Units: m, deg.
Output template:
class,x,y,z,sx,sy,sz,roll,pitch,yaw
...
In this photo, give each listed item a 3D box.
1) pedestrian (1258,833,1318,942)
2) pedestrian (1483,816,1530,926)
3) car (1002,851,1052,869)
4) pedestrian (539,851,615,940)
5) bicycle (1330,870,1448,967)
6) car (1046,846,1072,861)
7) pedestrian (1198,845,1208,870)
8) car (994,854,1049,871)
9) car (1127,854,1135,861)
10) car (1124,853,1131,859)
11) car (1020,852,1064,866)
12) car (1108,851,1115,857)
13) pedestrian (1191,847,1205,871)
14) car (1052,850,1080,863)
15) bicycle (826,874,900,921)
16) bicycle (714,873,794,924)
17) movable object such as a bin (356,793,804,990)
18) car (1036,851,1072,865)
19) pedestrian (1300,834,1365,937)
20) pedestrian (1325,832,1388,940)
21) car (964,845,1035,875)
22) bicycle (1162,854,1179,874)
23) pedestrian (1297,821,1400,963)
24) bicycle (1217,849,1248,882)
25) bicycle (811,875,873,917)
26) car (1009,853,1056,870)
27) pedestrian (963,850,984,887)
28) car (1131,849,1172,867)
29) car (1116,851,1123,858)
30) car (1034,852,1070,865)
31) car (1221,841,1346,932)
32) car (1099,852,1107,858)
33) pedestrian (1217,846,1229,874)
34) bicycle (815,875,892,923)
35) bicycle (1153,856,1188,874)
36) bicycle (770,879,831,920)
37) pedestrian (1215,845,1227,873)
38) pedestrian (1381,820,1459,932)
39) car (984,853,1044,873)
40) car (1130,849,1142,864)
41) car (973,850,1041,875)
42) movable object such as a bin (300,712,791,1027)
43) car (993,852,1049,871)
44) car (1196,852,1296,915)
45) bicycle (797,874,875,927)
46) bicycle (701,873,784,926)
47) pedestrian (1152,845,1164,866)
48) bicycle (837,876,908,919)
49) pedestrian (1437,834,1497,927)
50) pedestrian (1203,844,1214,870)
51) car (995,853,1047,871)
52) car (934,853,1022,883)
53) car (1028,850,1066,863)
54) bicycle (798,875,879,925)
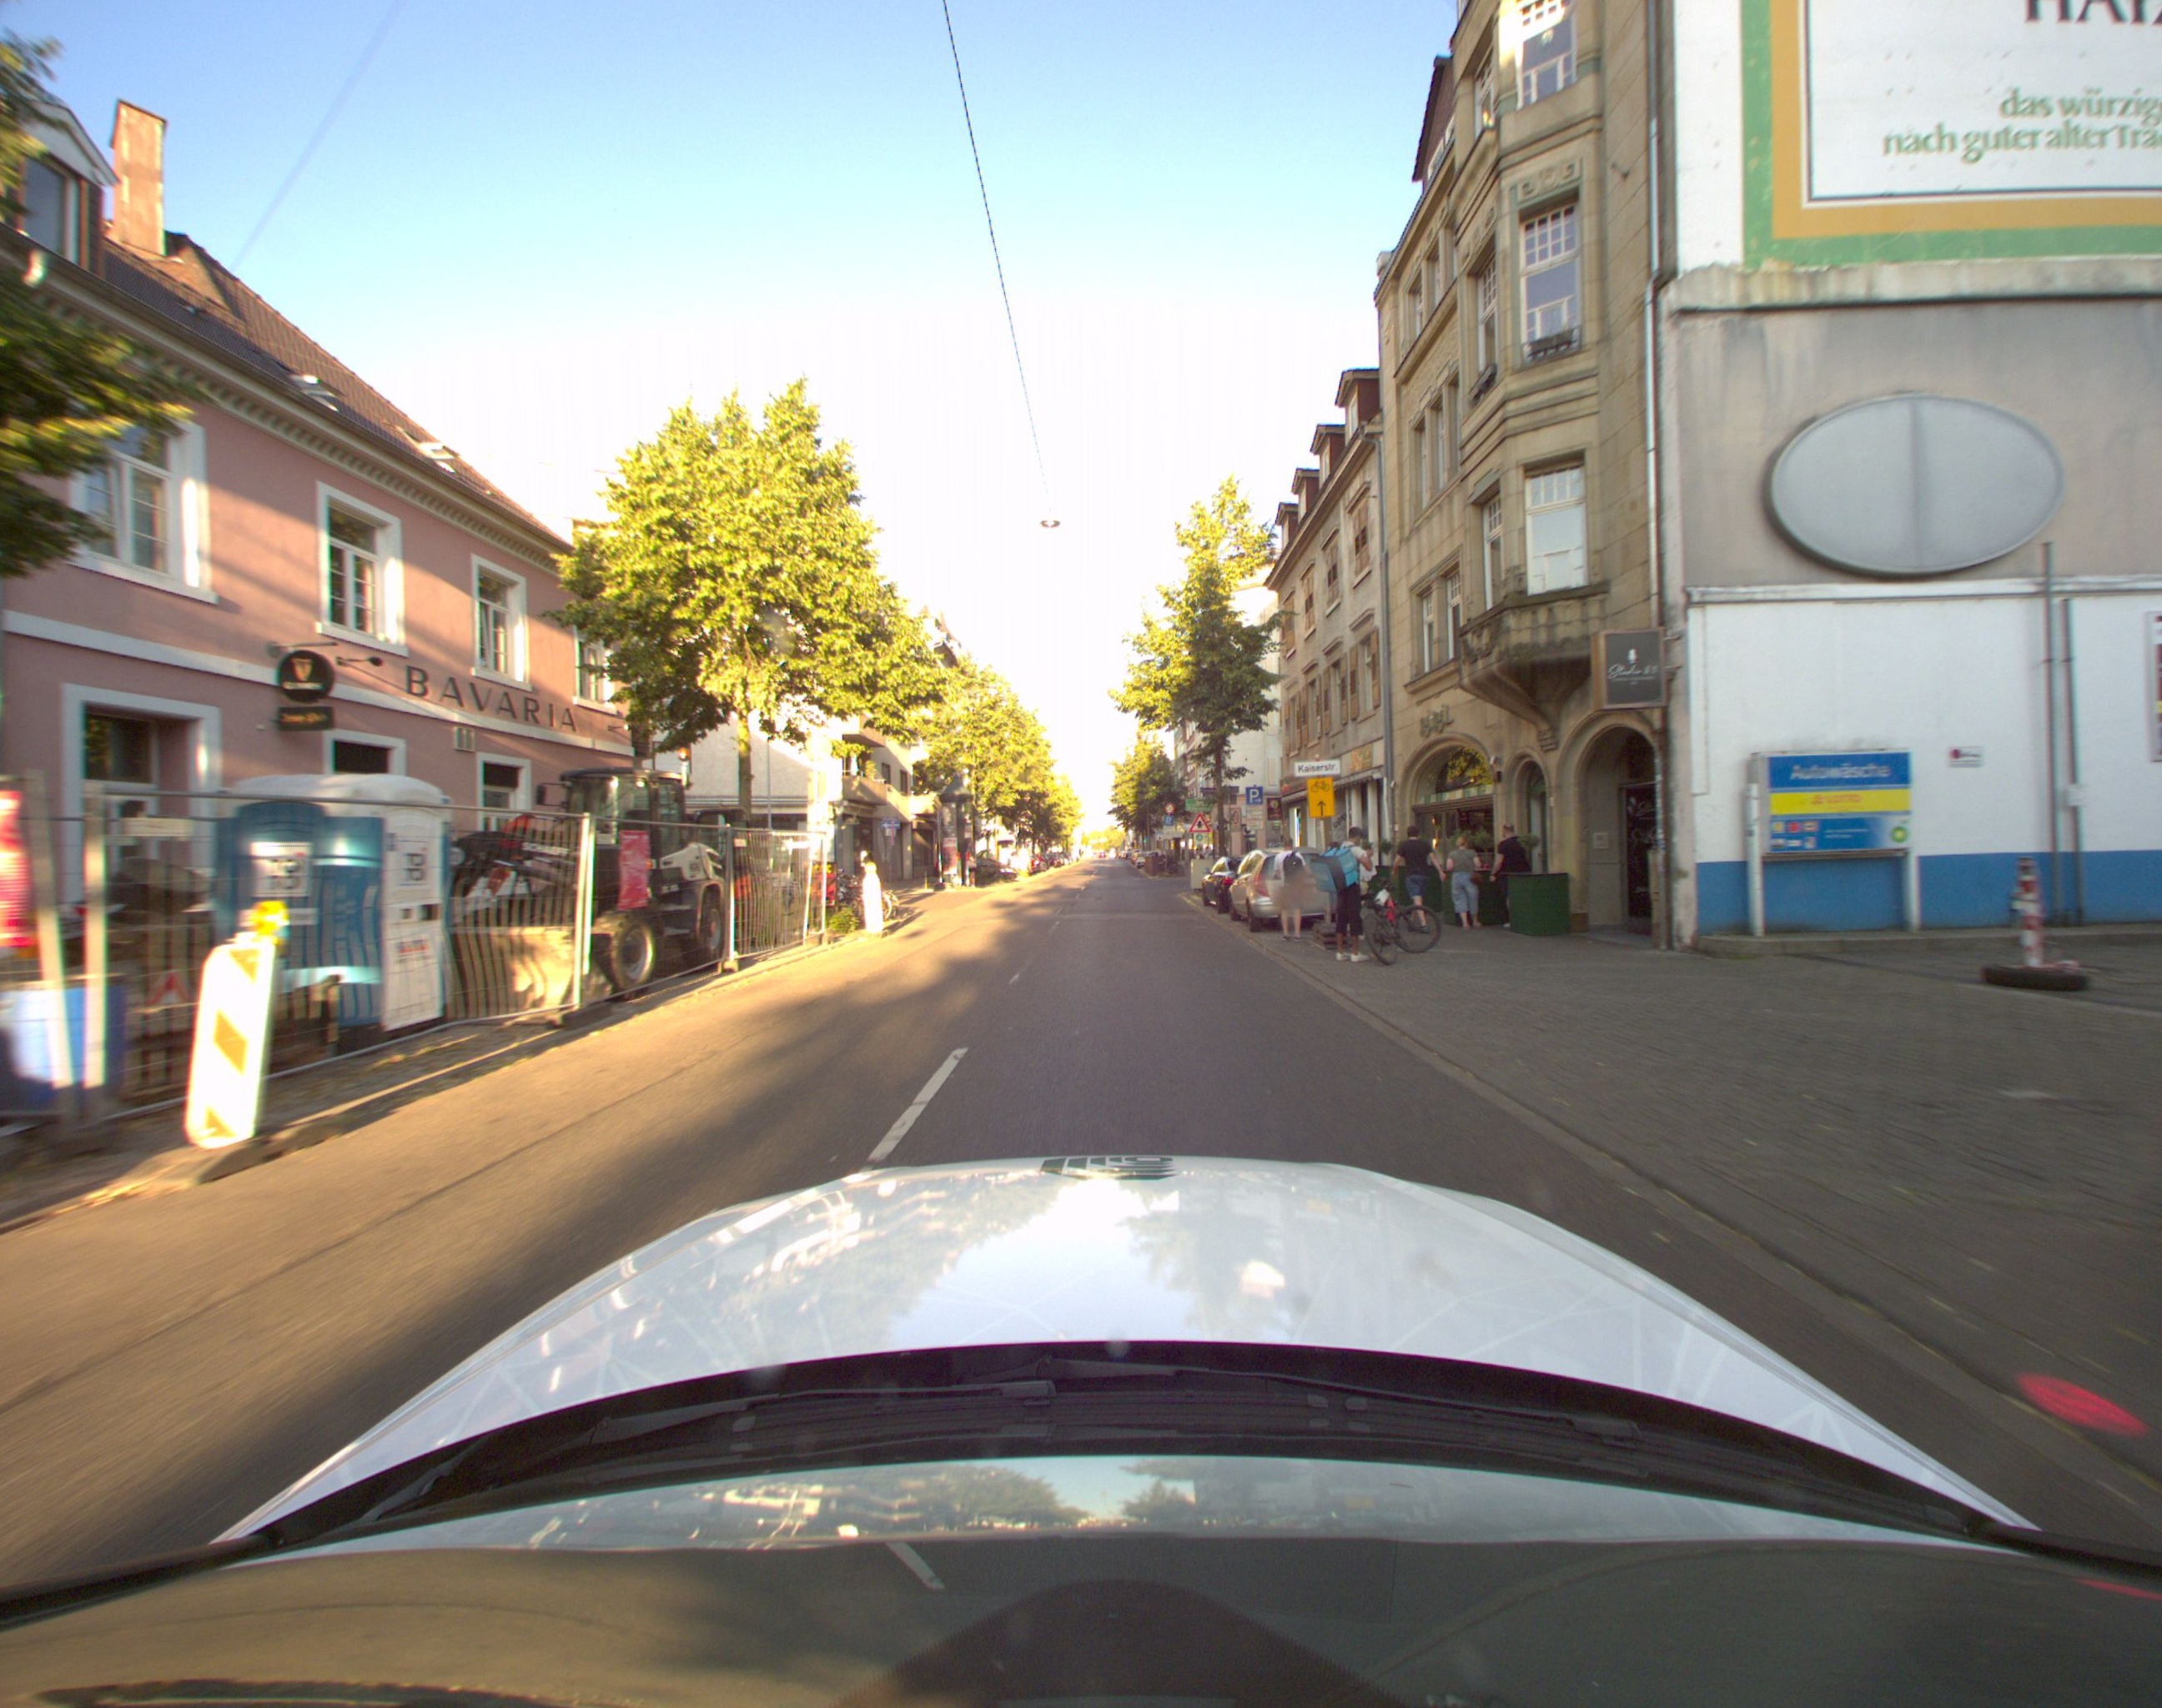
class,x,y,z,sx,sy,sz,roll,pitch,yaw
pedestrian,3.490,0.547,13.785,0.677,1.754,0.823,-2,0,-8
pedestrian,7.388,0.284,14.156,0.460,1.875,0.499,-2,0,-13
car,-4.955,0.542,74.859,4.424,1.568,1.920,0,0,2
pedestrian,-10.425,0.823,16.872,0.809,1.766,1.045,-1,0,21
bicycle,4.266,0.840,11.199,0.856,1.098,1.939,-3,1,41
car,-3.801,-0.050,140.905,4.424,2.435,1.920,-1,0,2
pedestrian,8.313,0.263,55.379,0.627,1.680,0.894,-1,0,9
car,-5.081,0.709,69.870,4.424,1.458,1.860,0,0,2
car,9.338,0.574,152.982,1.507,1.276,3.306,-1,0,3
car,9.750,0.474,171.144,1.507,1.263,3.306,-1,0,3
car,-4.103,0.527,86.081,4.424,1.448,1.920,0,0,2
car,7.900,0.055,209.334,1.714,1.475,3.306,-1,0,3
pedestrian,7.860,0.344,54.627,0.791,1.625,0.916,-1,0,14
car,-2.404,0.356,130.834,4.424,1.959,1.920,-1,0,2
bicycle,-5.329,1.052,19.916,1.672,1.079,0.445,1,-1,9
bicycle,-7.527,1.006,18.750,1.674,1.149,0.445,0,-1,5
movable object such as a bin,-7.786,0.446,13.199,5.788,2.495,2.285,-1,0,-45
car,-3.460,0.536,103.453,4.424,1.759,1.920,0,0,2
pedestrian,4.371,0.531,14.194,0.678,1.706,0.822,-4,0,-13
pedestrian,4.557,0.522,13.473,0.657,1.700,0.660,-4,0,-42
car,-5.476,0.402,55.250,4.554,1.962,1.991,0,0,1
bicycle,5.536,0.590,50.201,0.592,1.178,1.856,-1,0,21
pedestrian,3.690,0.502,11.287,1.013,1.825,0.778,-4,0,-8
bicycle,5.435,0.412,29.285,0.775,1.111,1.900,-3,-1,2
bicycle,-6.221,1.083,21.229,1.484,1.059,0.470,0,-1,-5
car,-4.710,0.710,79.569,4.424,1.568,1.920,0,0,2
pedestrian,-4.969,0.656,37.542,0.706,1.686,0.836,-1,0,11
car,6.369,0.339,73.550,1.654,1.588,3.846,0,0,45
car,9.738,0.144,205.480,1.745,1.540,3.306,-1,0,3
car,-3.618,0.581,101.353,4.286,1.598,1.920,0,0,2
car,4.091,0.595,17.047,1.680,1.575,4.015,-4,0,2
car,5.789,0.286,213.478,1.745,1.540,3.306,-1,0,3
pedestrian,8.356,0.362,47.828,0.565,1.584,0.664,-3,1,2
bicycle,-5.394,1.059,19.333,1.672,1.079,0.445,1,-1,9
bicycle,5.337,0.675,48.744,1.935,1.074,0.710,-1,0,33
bicycle,-6.816,1.101,19.818,1.318,0.980,0.445,0,-1,5
pedestrian,8.371,0.283,48.592,0.565,1.599,0.664,-3,1,2
pedestrian,5.950,0.367,14.350,0.820,1.854,1.097,-4,0,0
car,-5.157,0.694,62.918,4.424,1.506,1.846,0,0,2
car,7.107,0.319,105.425,1.507,1.864,4.239,-1,0,3
car,-5.245,0.615,57.938,4.553,1.698,2.061,0,0,2
movable object such as a bin,-6.072,0.146,10.438,2.615,2.969,5.306,-1,0,2
car,-4.952,0.627,67.559,4.424,1.484,1.810,0,0,2
car,4.241,0.686,21.608,1.778,1.375,4.525,-4,0,2
bicycle,-5.362,1.018,17.849,1.554,1.116,0.440,2,-1,-31
bicycle,-7.523,1.000,18.101,1.674,1.149,0.445,0,-1,5
pedestrian,7.337,0.163,77.222,0.916,1.926,1.015,0,0,-8
bicycle,-5.282,1.087,20.642,1.672,1.021,0.445,1,-1,9
pedestrian,6.790,0.461,14.357,0.656,1.562,0.702,-4,0,2
pedestrian,8.697,0.208,55.703,0.693,1.805,0.894,-1,0,10
car,-5.301,0.707,72.635,4.424,1.638,1.860,0,0,2
car,-5.594,0.760,44.705,4.530,1.541,1.811,0,0,0
car,-4.033,0.331,96.963,4.424,1.523,1.920,0,0,2
bicycle,-5.574,1.049,18.746,1.676,1.079,0.444,1,-1,1
